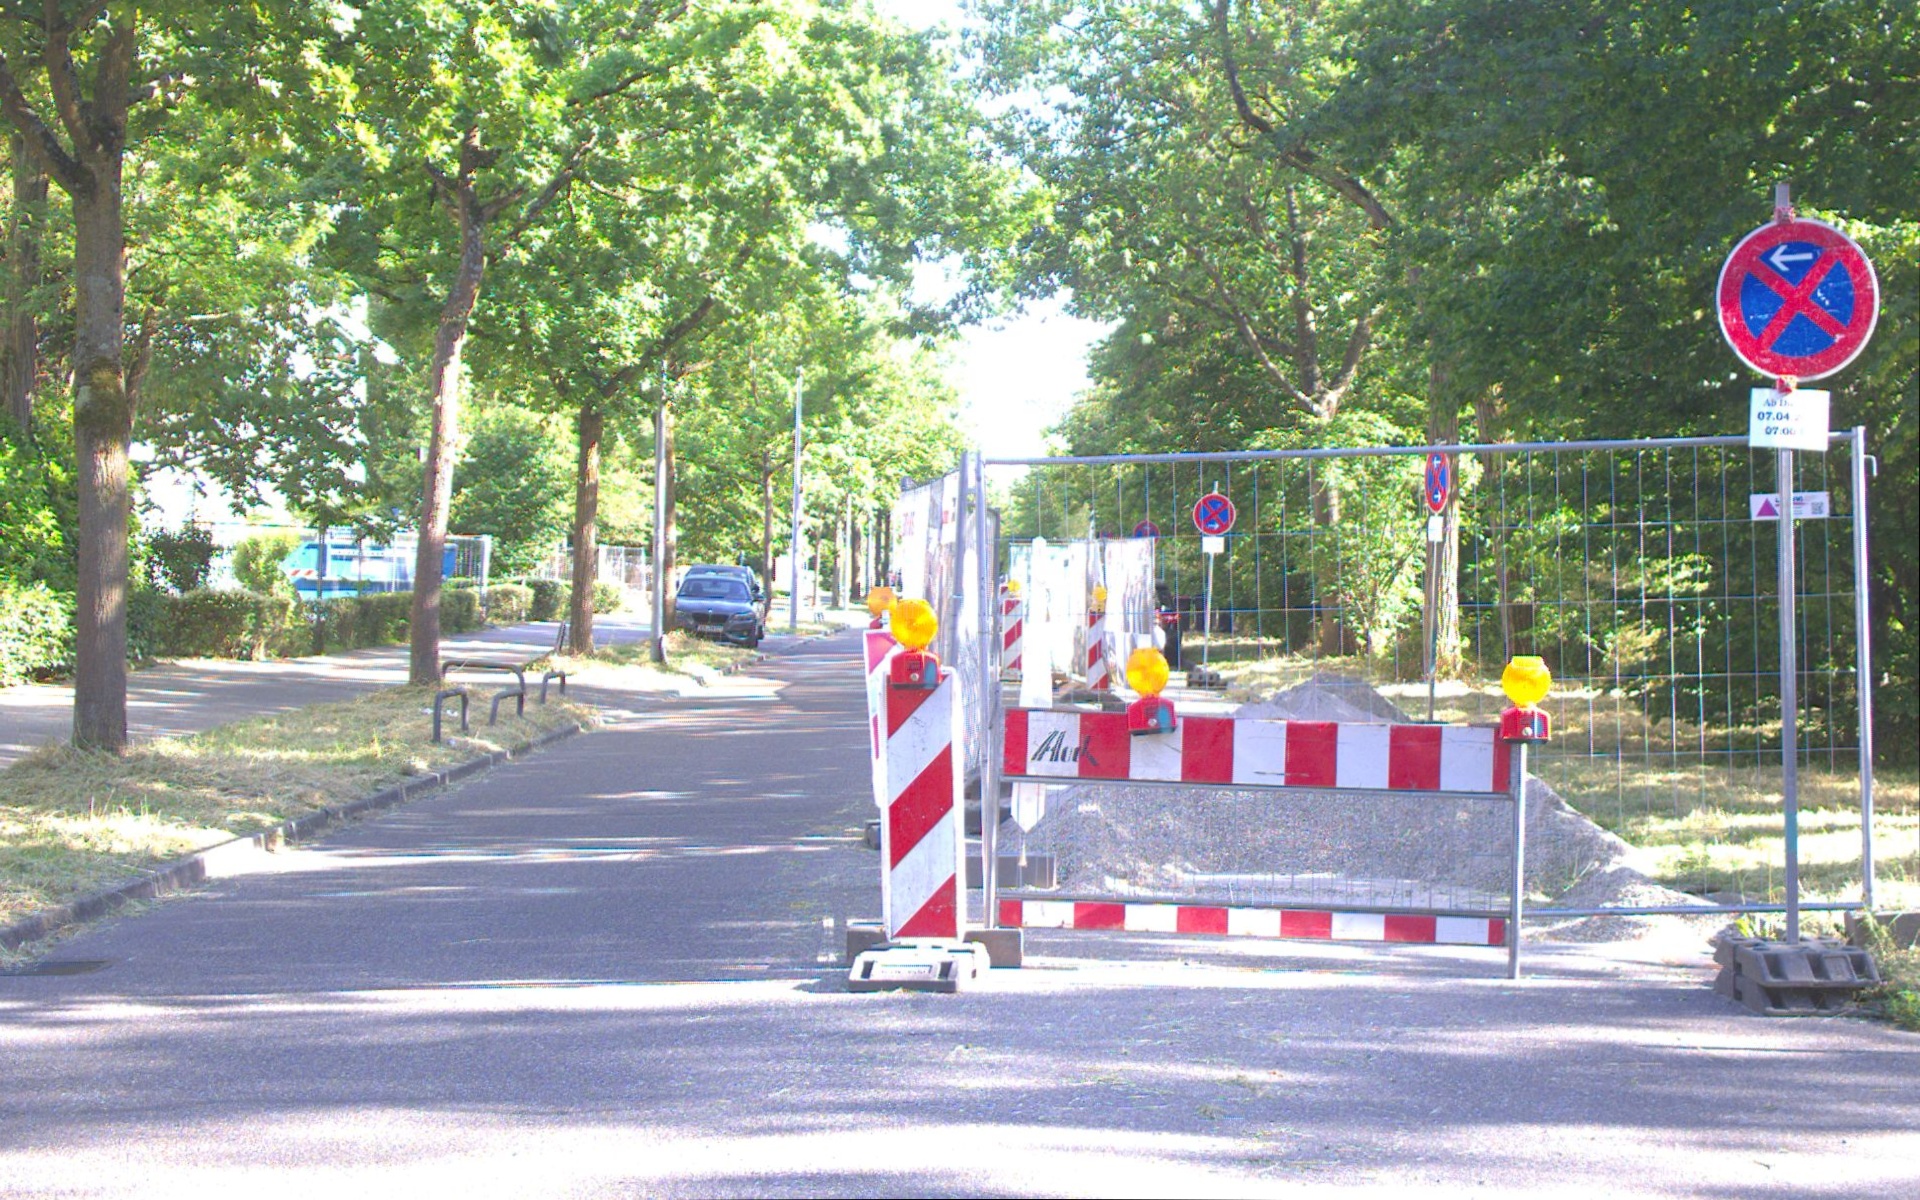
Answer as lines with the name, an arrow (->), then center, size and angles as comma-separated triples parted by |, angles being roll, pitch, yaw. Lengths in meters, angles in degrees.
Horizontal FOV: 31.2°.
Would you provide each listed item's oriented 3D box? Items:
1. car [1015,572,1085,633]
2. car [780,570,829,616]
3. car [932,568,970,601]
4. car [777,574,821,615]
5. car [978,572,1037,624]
car -> 2.005, 0.063, 77.304 | 1.361, 1.298, 3.481 | 2, 0, -2
car -> -4.643, -0.202, 102.924 | 1.361, 1.298, 3.481 | 2, 0, -2
car -> -0.464, -0.774, 174.590 | 1.710, 1.579, 4.000 | 2, 0, -3
car -> -5.364, -0.179, 114.665 | 1.361, 1.298, 3.481 | 2, 0, -2
car -> 1.241, -0.051, 90.284 | 1.361, 1.298, 3.481 | 2, 0, -2
